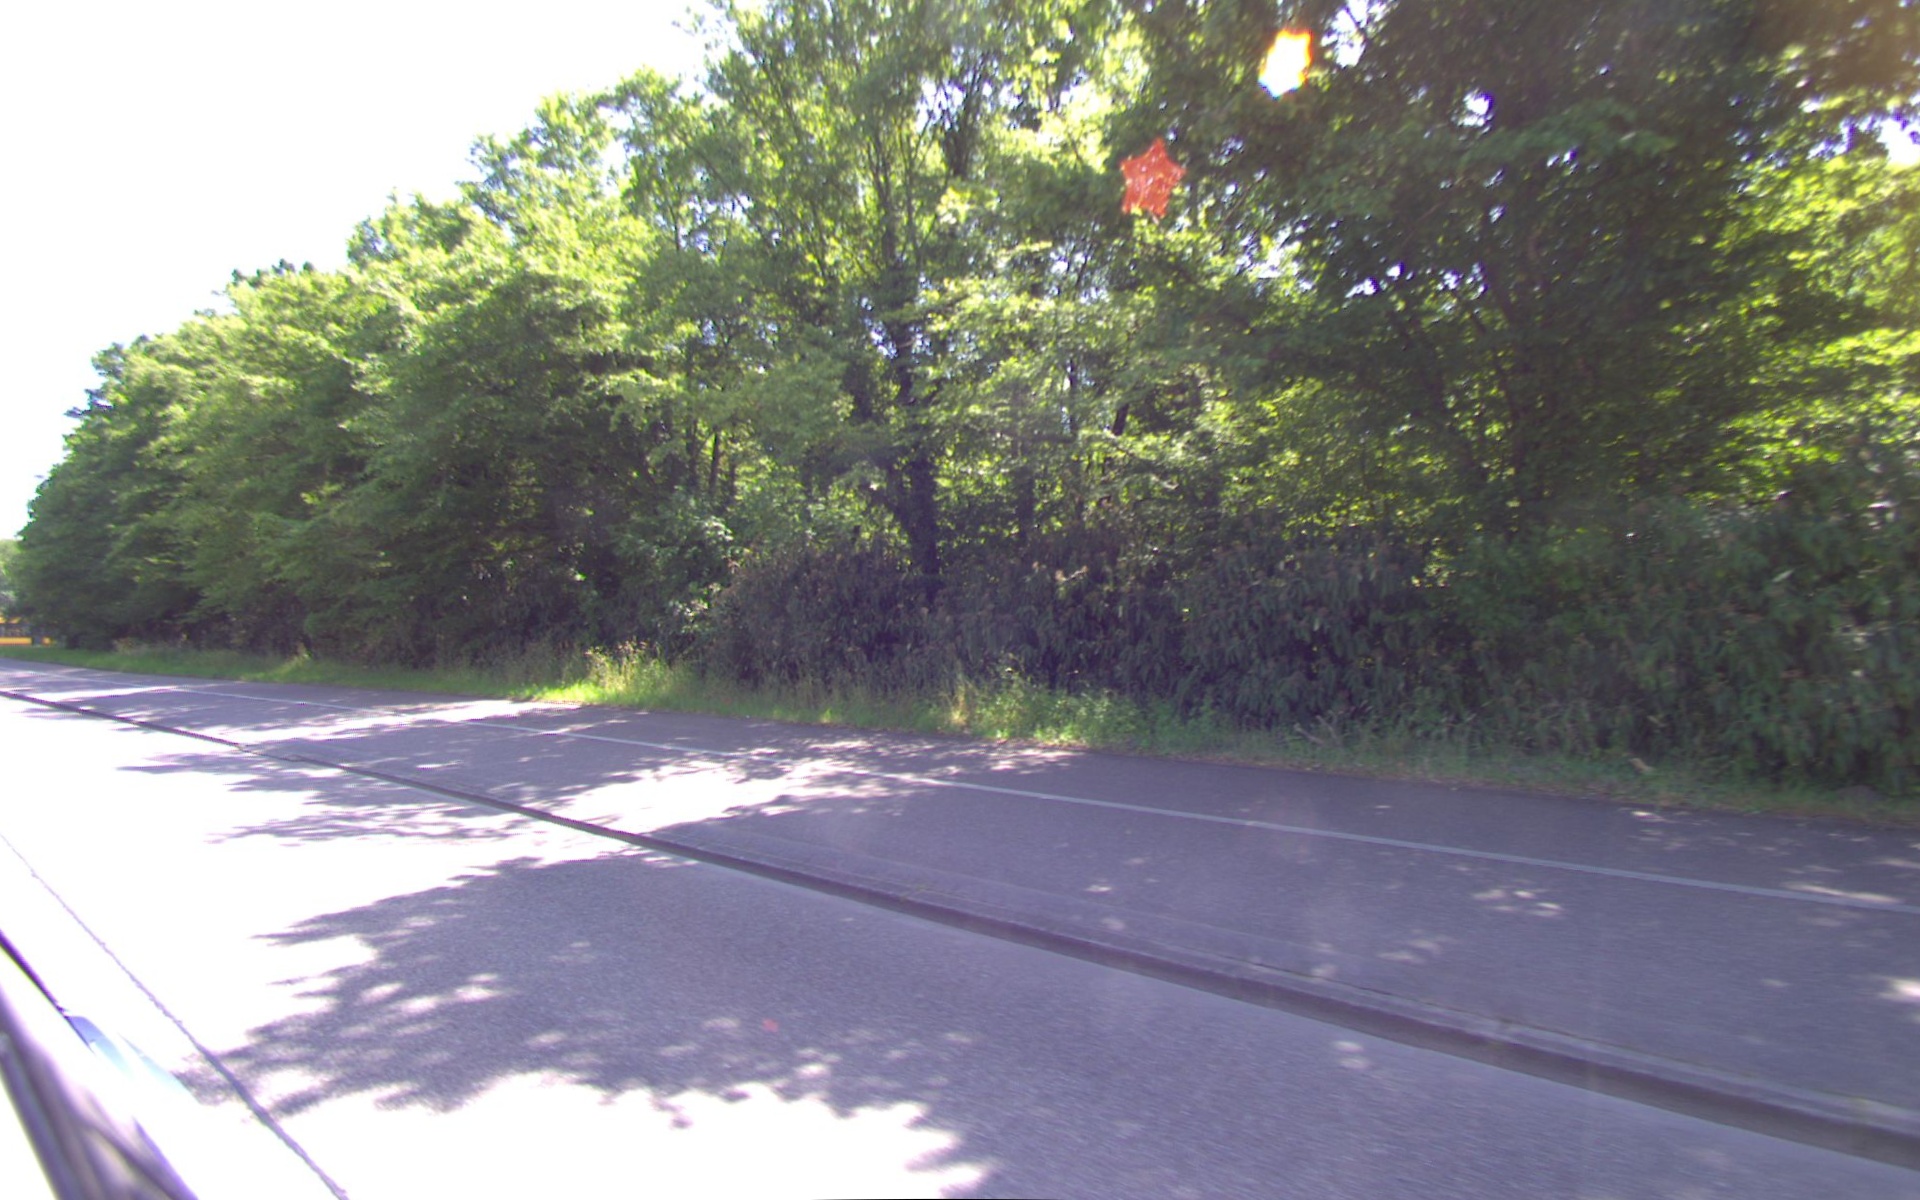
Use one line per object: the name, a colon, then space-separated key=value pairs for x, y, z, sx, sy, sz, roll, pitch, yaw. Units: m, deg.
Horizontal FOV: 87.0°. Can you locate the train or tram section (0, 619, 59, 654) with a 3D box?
train or tram section: x=-101.450 y=3.901 z=107.138 sx=10.723 sy=3.492 sz=2.646 roll=-1 pitch=-1 yaw=7

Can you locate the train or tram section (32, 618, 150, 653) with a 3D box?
train or tram section: x=-92.502 y=3.736 z=107.947 sx=9.191 sy=3.492 sz=2.791 roll=-1 pitch=-1 yaw=-19
